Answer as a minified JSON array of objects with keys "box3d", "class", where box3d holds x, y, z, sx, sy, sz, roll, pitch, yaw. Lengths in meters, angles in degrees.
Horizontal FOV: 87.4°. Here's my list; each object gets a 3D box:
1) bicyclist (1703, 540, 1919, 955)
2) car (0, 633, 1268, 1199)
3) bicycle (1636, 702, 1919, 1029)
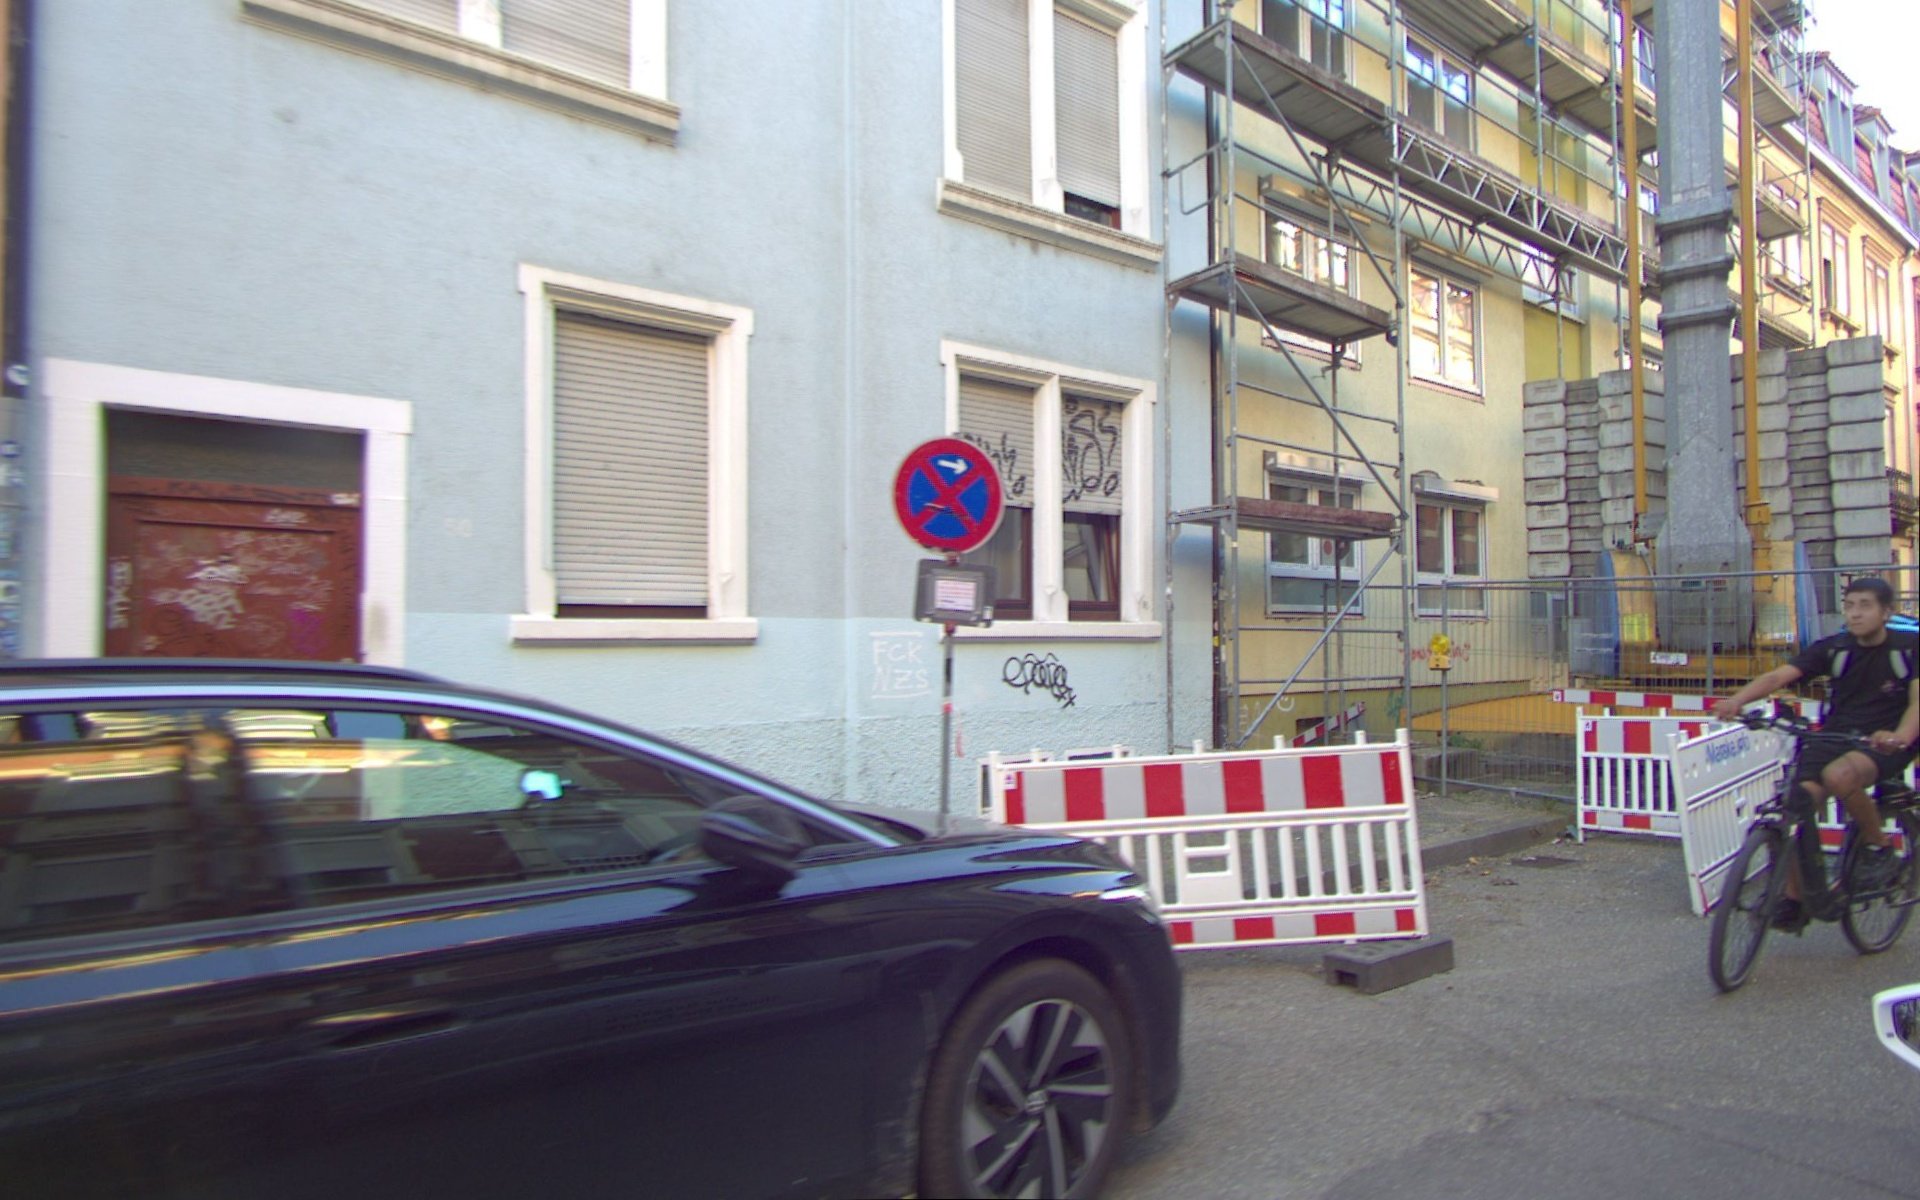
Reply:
[{"box3d":[4.108,0.627,4.634,0.880,1.699,0.663,0,-4,-24],"class":"bicyclist"},{"box3d":[-1.461,0.877,2.455,4.650,1.528,1.756,1,-4,-36],"class":"car"},{"box3d":[4.032,1.086,4.564,1.821,1.172,0.685,0,-4,-24],"class":"bicycle"}]
